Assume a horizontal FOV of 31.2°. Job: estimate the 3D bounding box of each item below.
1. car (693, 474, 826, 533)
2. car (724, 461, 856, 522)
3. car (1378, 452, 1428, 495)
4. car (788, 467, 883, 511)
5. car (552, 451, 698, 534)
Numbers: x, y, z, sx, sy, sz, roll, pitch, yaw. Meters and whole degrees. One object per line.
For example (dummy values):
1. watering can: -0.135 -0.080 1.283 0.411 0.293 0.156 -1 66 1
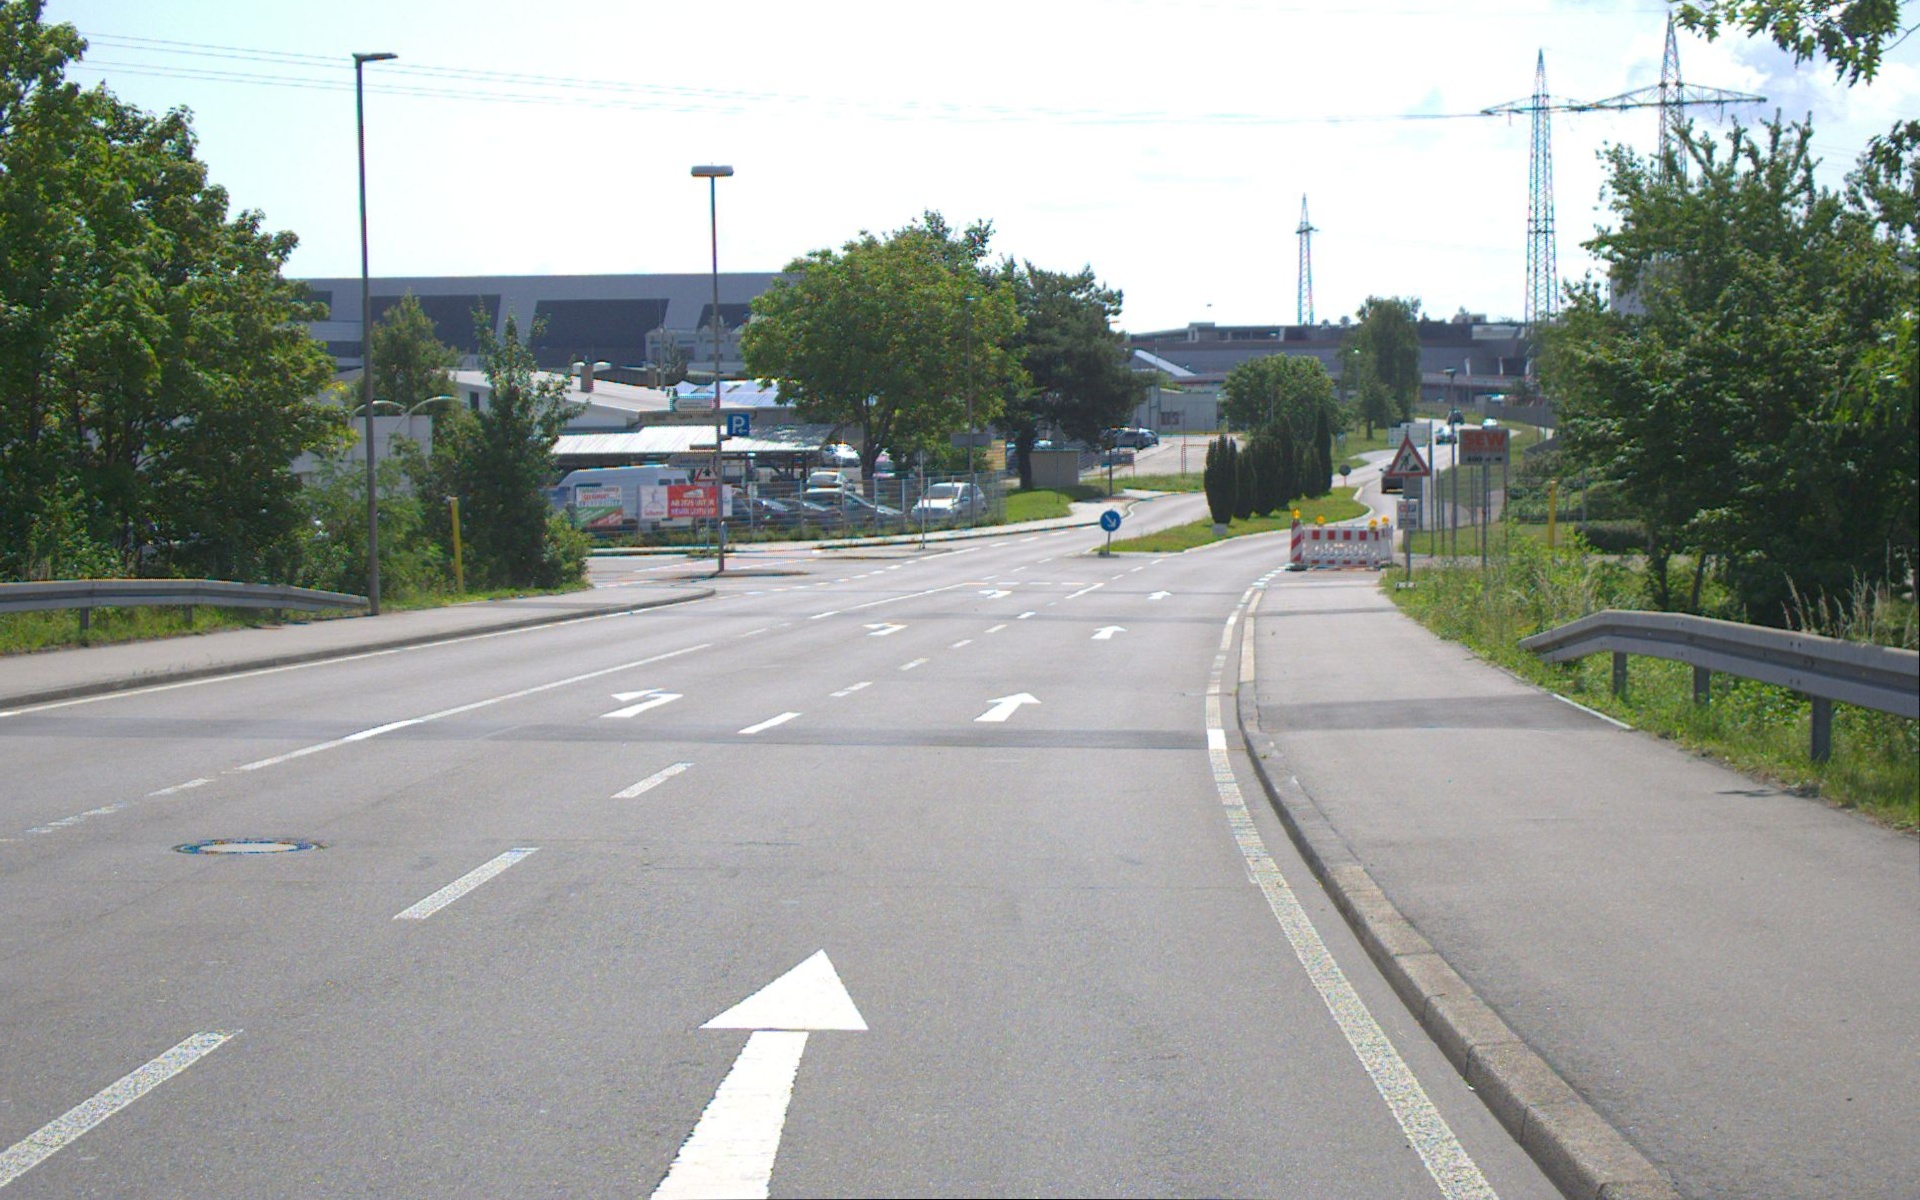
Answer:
1. car: -6.619 -3.191 113.382 3.994 1.774 1.997 3 5 32
2. car: -5.711 -3.655 115.365 3.995 1.897 1.997 3 5 33
3. car: 21.845 -6.239 169.414 2.272 1.940 4.664 3 3 8
4. car: -5.369 -4.761 147.586 3.986 1.843 1.835 0 3 -5
5. car: -10.696 -3.430 109.569 4.360 2.599 1.996 1 2 34
